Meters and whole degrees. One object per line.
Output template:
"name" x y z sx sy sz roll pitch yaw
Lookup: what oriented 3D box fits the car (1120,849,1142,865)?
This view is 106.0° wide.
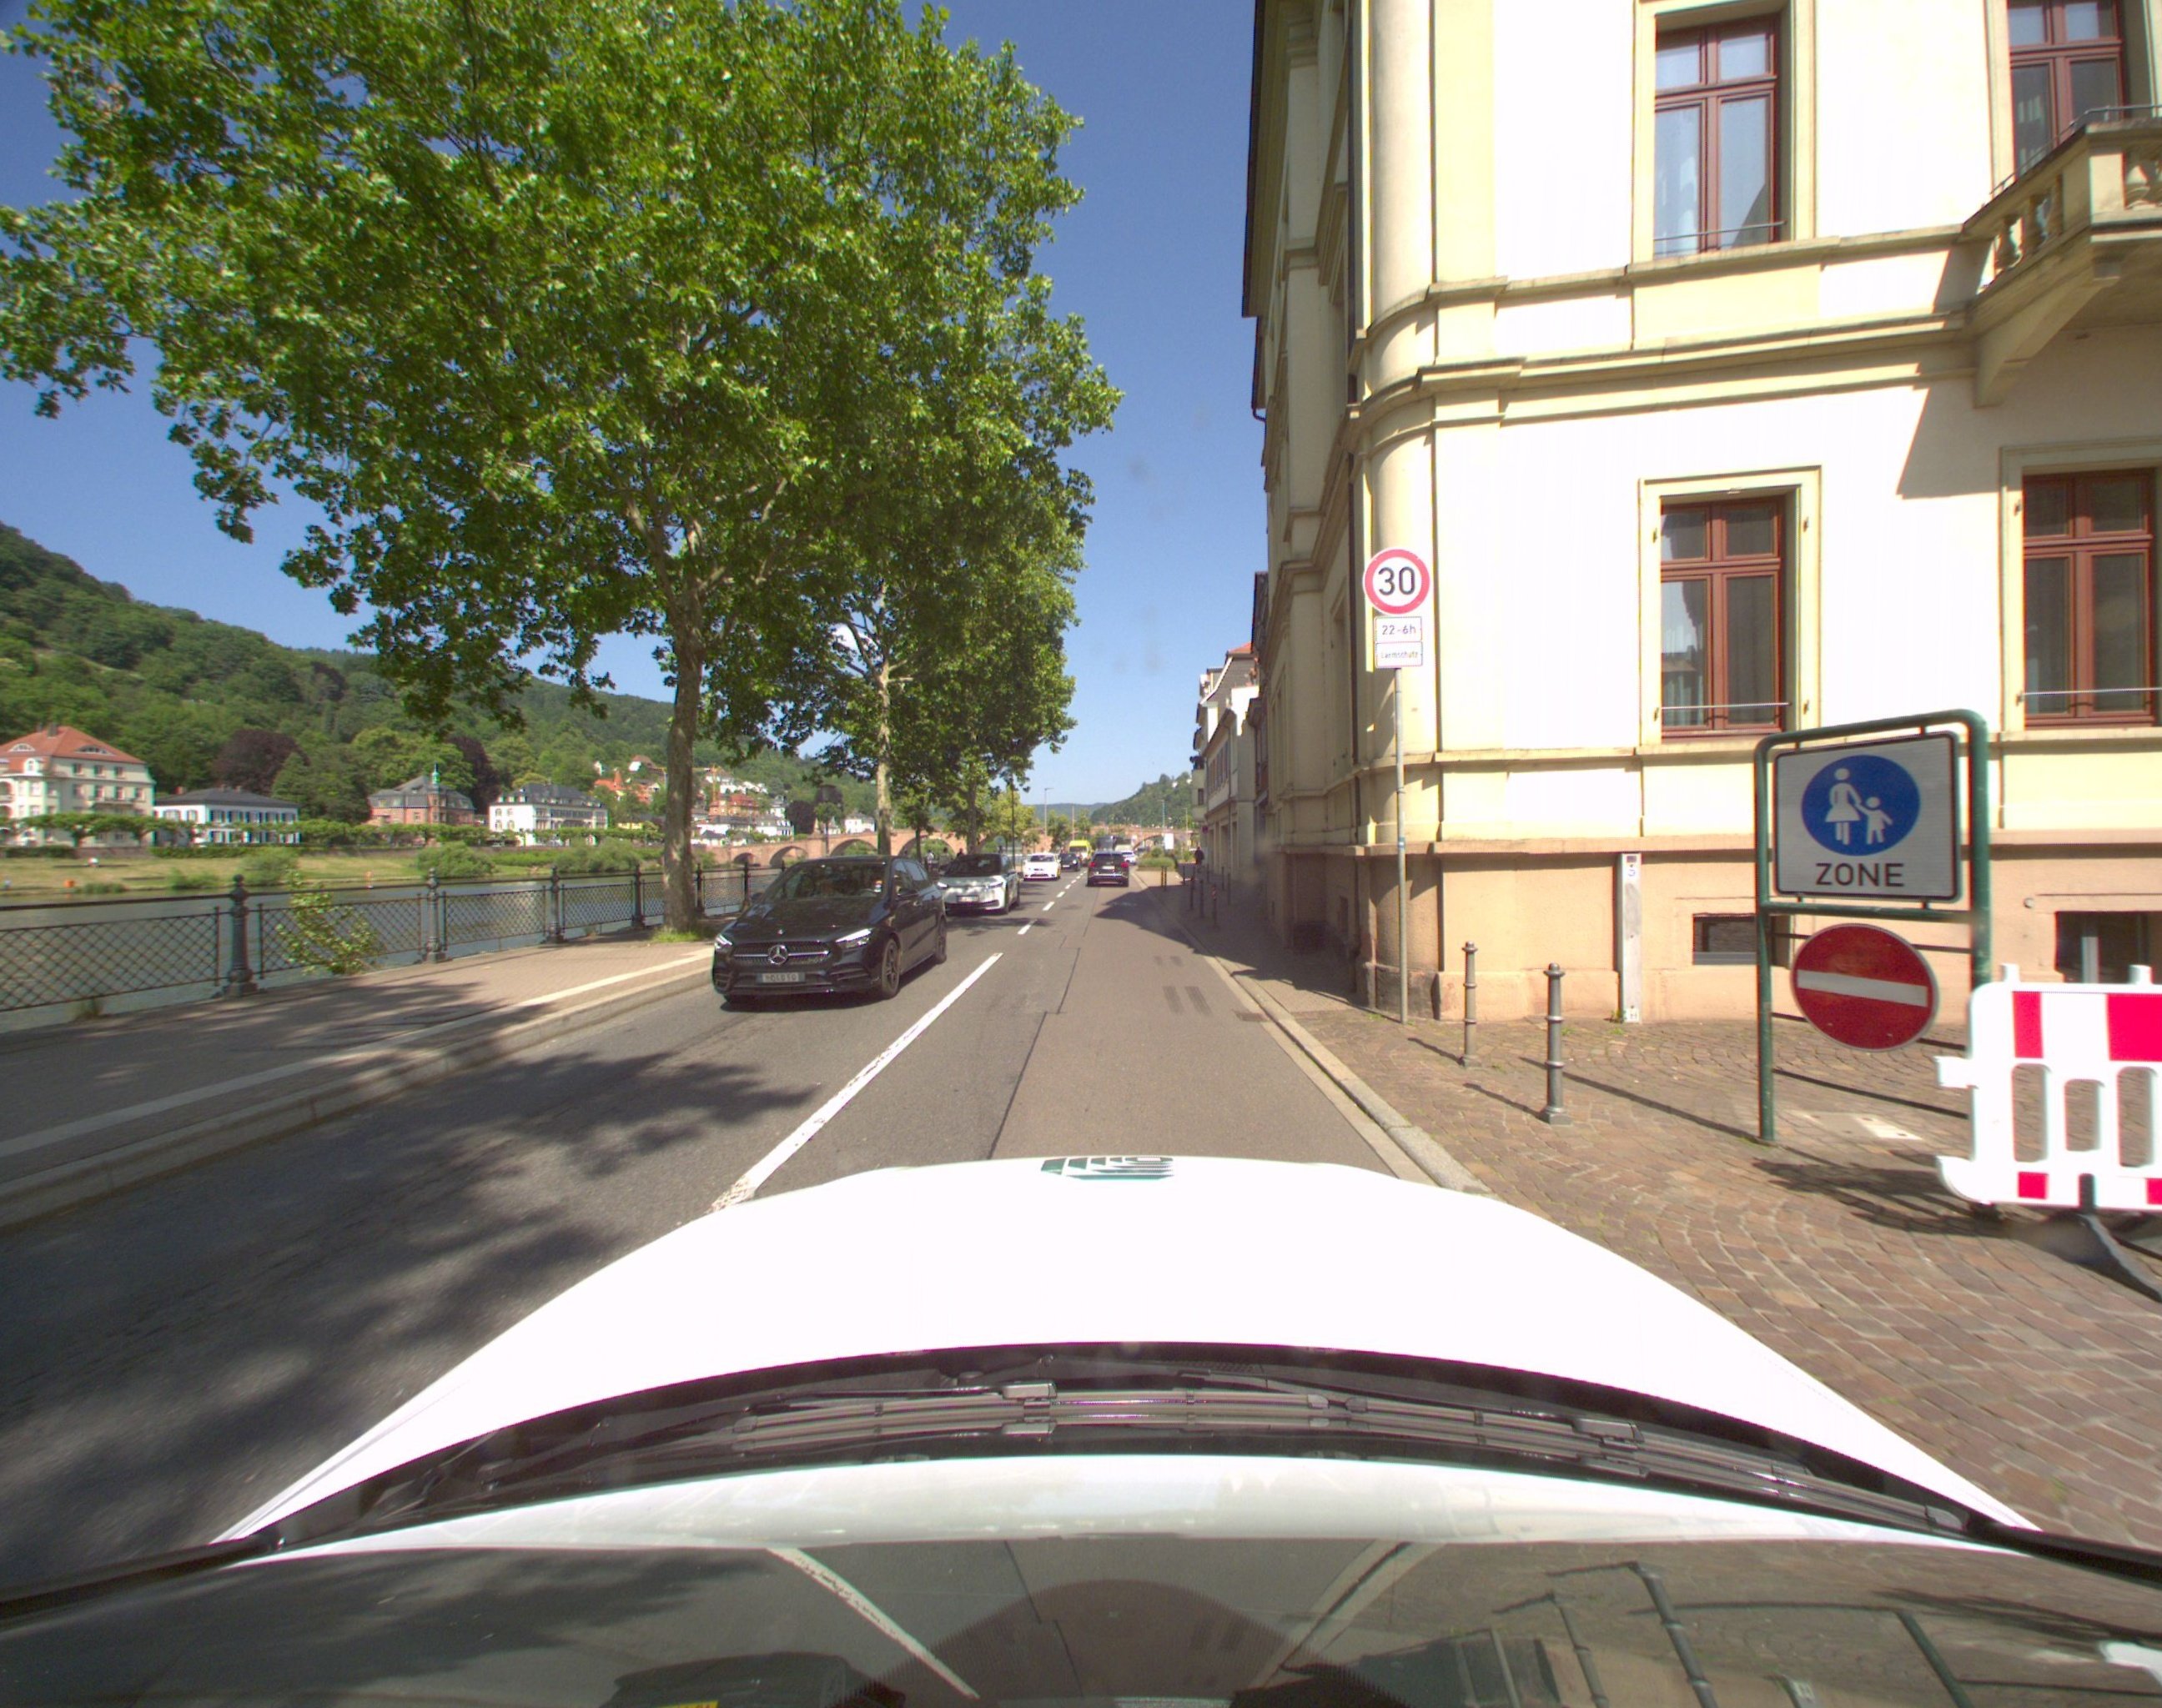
"car" 5.118 0.301 82.284 1.916 1.553 4.841 -2 0 6

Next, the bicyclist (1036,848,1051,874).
"bicyclist" -2.346 0.432 51.346 0.762 1.531 1.027 1 2 6

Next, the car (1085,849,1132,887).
"car" 1.186 0.590 36.194 1.920 1.553 4.832 1 -1 1

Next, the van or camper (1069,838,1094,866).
"van or camper" 0.098 -0.177 80.130 2.079 2.557 7.097 0 0 3

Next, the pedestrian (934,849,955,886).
"pedestrian" -5.969 0.570 35.691 0.759 1.586 0.696 -1 0 1

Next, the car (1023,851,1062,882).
"car" -2.000 0.630 43.176 1.694 1.445 4.094 0 1 2

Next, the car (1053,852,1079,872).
"car" -1.065 0.578 60.808 1.694 1.458 4.004 -1 0 2

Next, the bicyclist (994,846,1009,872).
"bicyclist" -4.898 0.319 49.956 0.716 1.583 1.090 -1 0 3

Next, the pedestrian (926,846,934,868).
"pedestrian" -10.575 0.210 57.112 0.412 1.597 0.452 -1 0 9

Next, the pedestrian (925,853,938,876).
"pedestrian" -10.574 0.712 57.627 0.689 1.616 0.665 -1 0 9

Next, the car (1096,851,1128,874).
"car" 2.187 0.561 55.593 1.917 1.461 4.839 -1 0 5

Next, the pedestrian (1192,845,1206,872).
"pedestrian" 7.542 0.281 52.074 0.758 1.713 0.697 -4 -1 4

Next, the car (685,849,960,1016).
"car" -2.811 0.759 10.012 1.694 1.518 4.408 -3 0 3

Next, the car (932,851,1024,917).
"car" -2.636 0.717 21.769 1.729 1.518 4.406 -2 0 1

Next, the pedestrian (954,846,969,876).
"pedestrian" -6.737 0.389 45.950 0.654 1.682 0.758 2 0 1

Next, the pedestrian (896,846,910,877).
"pedestrian" -11.410 0.499 52.158 0.691 1.945 0.887 -1 0 1

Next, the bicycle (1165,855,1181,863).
"bicycle" 10.607 0.530 94.145 1.801 0.878 0.503 1 1 5

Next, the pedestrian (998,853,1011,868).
"pedestrian" -7.059 0.596 75.281 0.931 1.281 0.852 -1 0 10

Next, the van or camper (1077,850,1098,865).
"van or camper" 0.719 0.344 87.582 1.985 1.454 4.688 -1 0 4

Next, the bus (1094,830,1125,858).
"bus" 4.077 -1.317 112.192 2.616 3.564 13.014 -1 -1 9

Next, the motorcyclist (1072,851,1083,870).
"motorcyclist" -0.275 0.547 67.912 0.875 1.583 1.025 -1 0 0

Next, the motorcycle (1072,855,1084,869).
"motorcycle" -0.232 0.669 67.777 0.881 1.077 2.326 -1 0 -2
